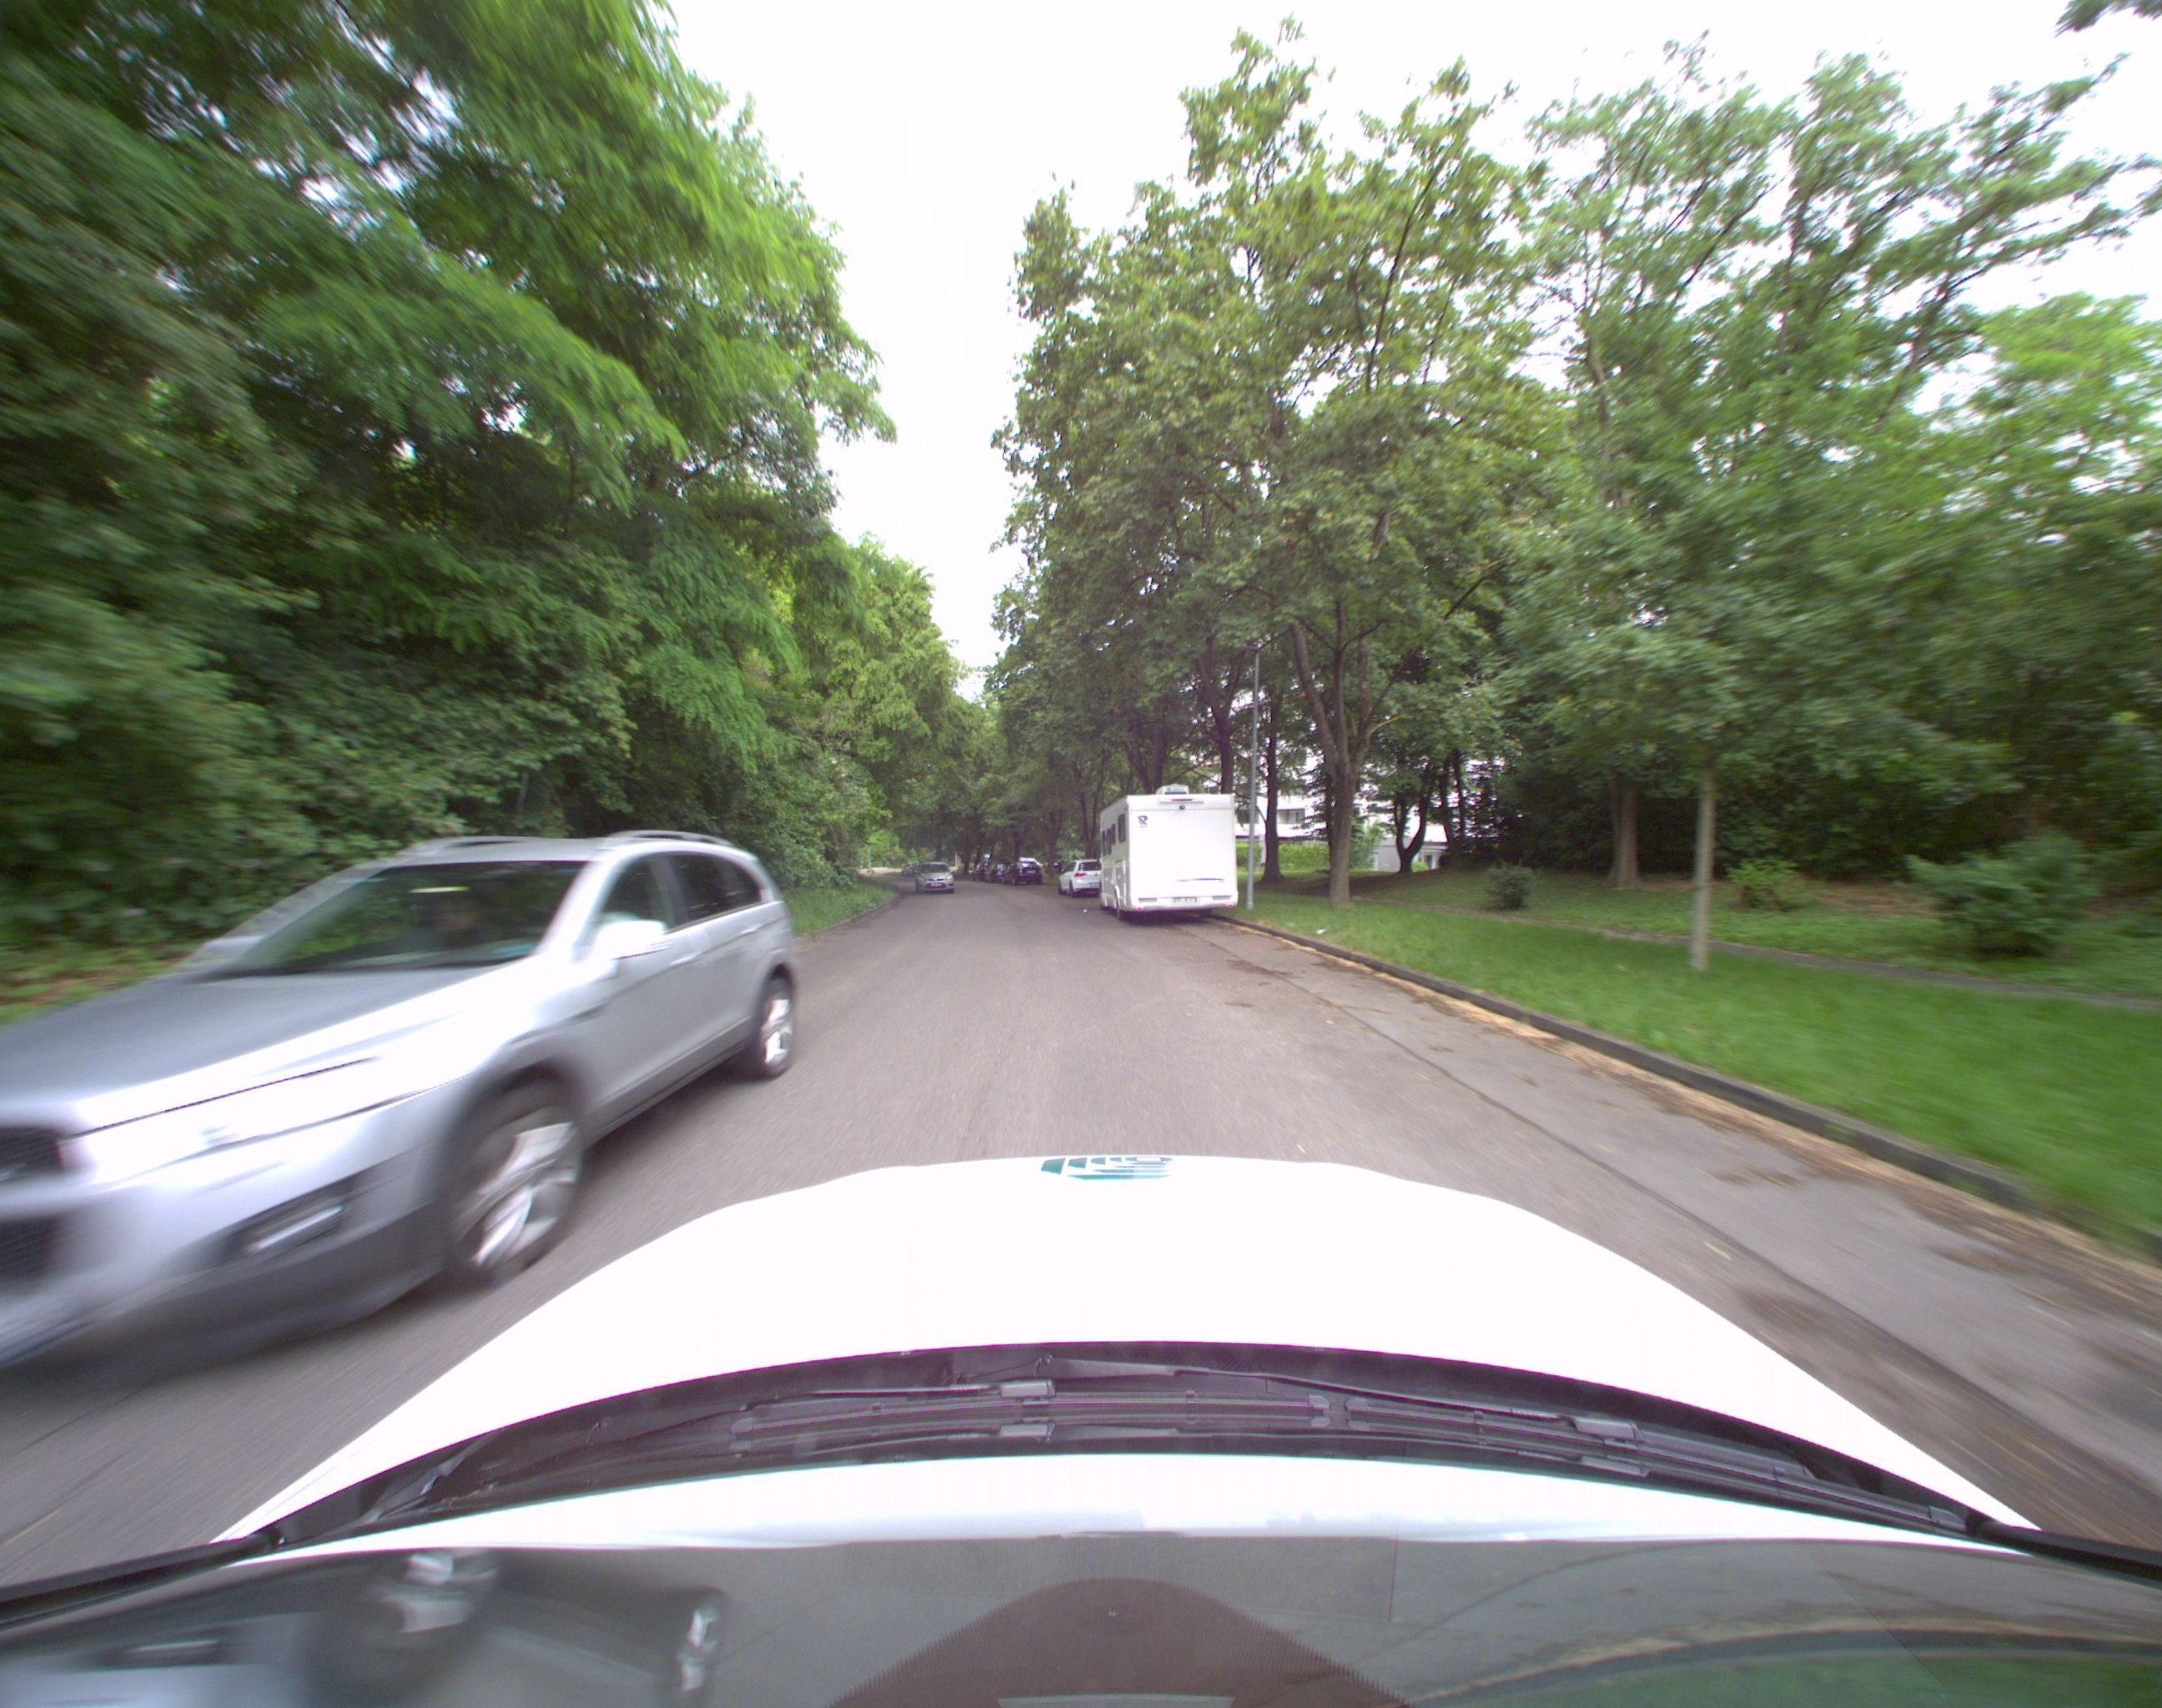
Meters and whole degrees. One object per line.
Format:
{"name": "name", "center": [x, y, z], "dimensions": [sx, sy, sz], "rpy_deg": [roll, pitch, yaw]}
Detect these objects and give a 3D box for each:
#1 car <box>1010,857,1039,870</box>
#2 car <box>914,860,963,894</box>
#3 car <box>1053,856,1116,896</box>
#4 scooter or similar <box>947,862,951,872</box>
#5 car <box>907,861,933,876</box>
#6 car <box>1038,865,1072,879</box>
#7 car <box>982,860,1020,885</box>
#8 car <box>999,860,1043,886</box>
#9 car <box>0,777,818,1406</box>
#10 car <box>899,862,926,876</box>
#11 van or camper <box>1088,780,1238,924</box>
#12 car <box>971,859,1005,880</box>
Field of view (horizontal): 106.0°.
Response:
{"name": "car", "center": [-8.965, 1.495, 129.785], "dimensions": [4.222, 2.014, 1.986], "rpy_deg": [0, -1, -22]}
{"name": "car", "center": [-6.745, 1.071, 39.001], "dimensions": [1.790, 1.508, 3.996], "rpy_deg": [0, -1, -2]}
{"name": "car", "center": [0.076, 0.845, 32.681], "dimensions": [1.690, 1.482, 4.089], "rpy_deg": [0, -1, -12]}
{"name": "scooter or similar", "center": [-17.305, 1.747, 106.589], "dimensions": [0.284, 1.287, 1.099], "rpy_deg": [1, -1, -24]}
{"name": "car", "center": [-16.987, 1.495, 85.664], "dimensions": [1.782, 1.522, 4.149], "rpy_deg": [0, -1, -24]}
{"name": "car", "center": [-3.627, 2.502, 112.183], "dimensions": [4.407, 1.848, 1.821], "rpy_deg": [0, 0, -18]}
{"name": "car", "center": [-5.484, 1.250, 55.262], "dimensions": [1.916, 1.612, 4.711], "rpy_deg": [0, -1, -14]}
{"name": "car", "center": [-3.677, 1.128, 49.222], "dimensions": [1.594, 1.465, 4.289], "rpy_deg": [0, 0, -19]}
{"name": "car", "center": [-3.034, 0.709, 4.467], "dimensions": [1.816, 1.728, 4.309], "rpy_deg": [-3, 0, -2]}
{"name": "car", "center": [-18.264, 1.602, 88.180], "dimensions": [1.785, 1.522, 3.745], "rpy_deg": [0, -1, -29]}
{"name": "van or camper", "center": [1.742, -0.011, 20.639], "dimensions": [2.421, 2.980, 7.379], "rpy_deg": [0, -1, -5]}
{"name": "car", "center": [-6.933, 1.121, 60.592], "dimensions": [1.688, 1.464, 3.872], "rpy_deg": [0, -1, -20]}
